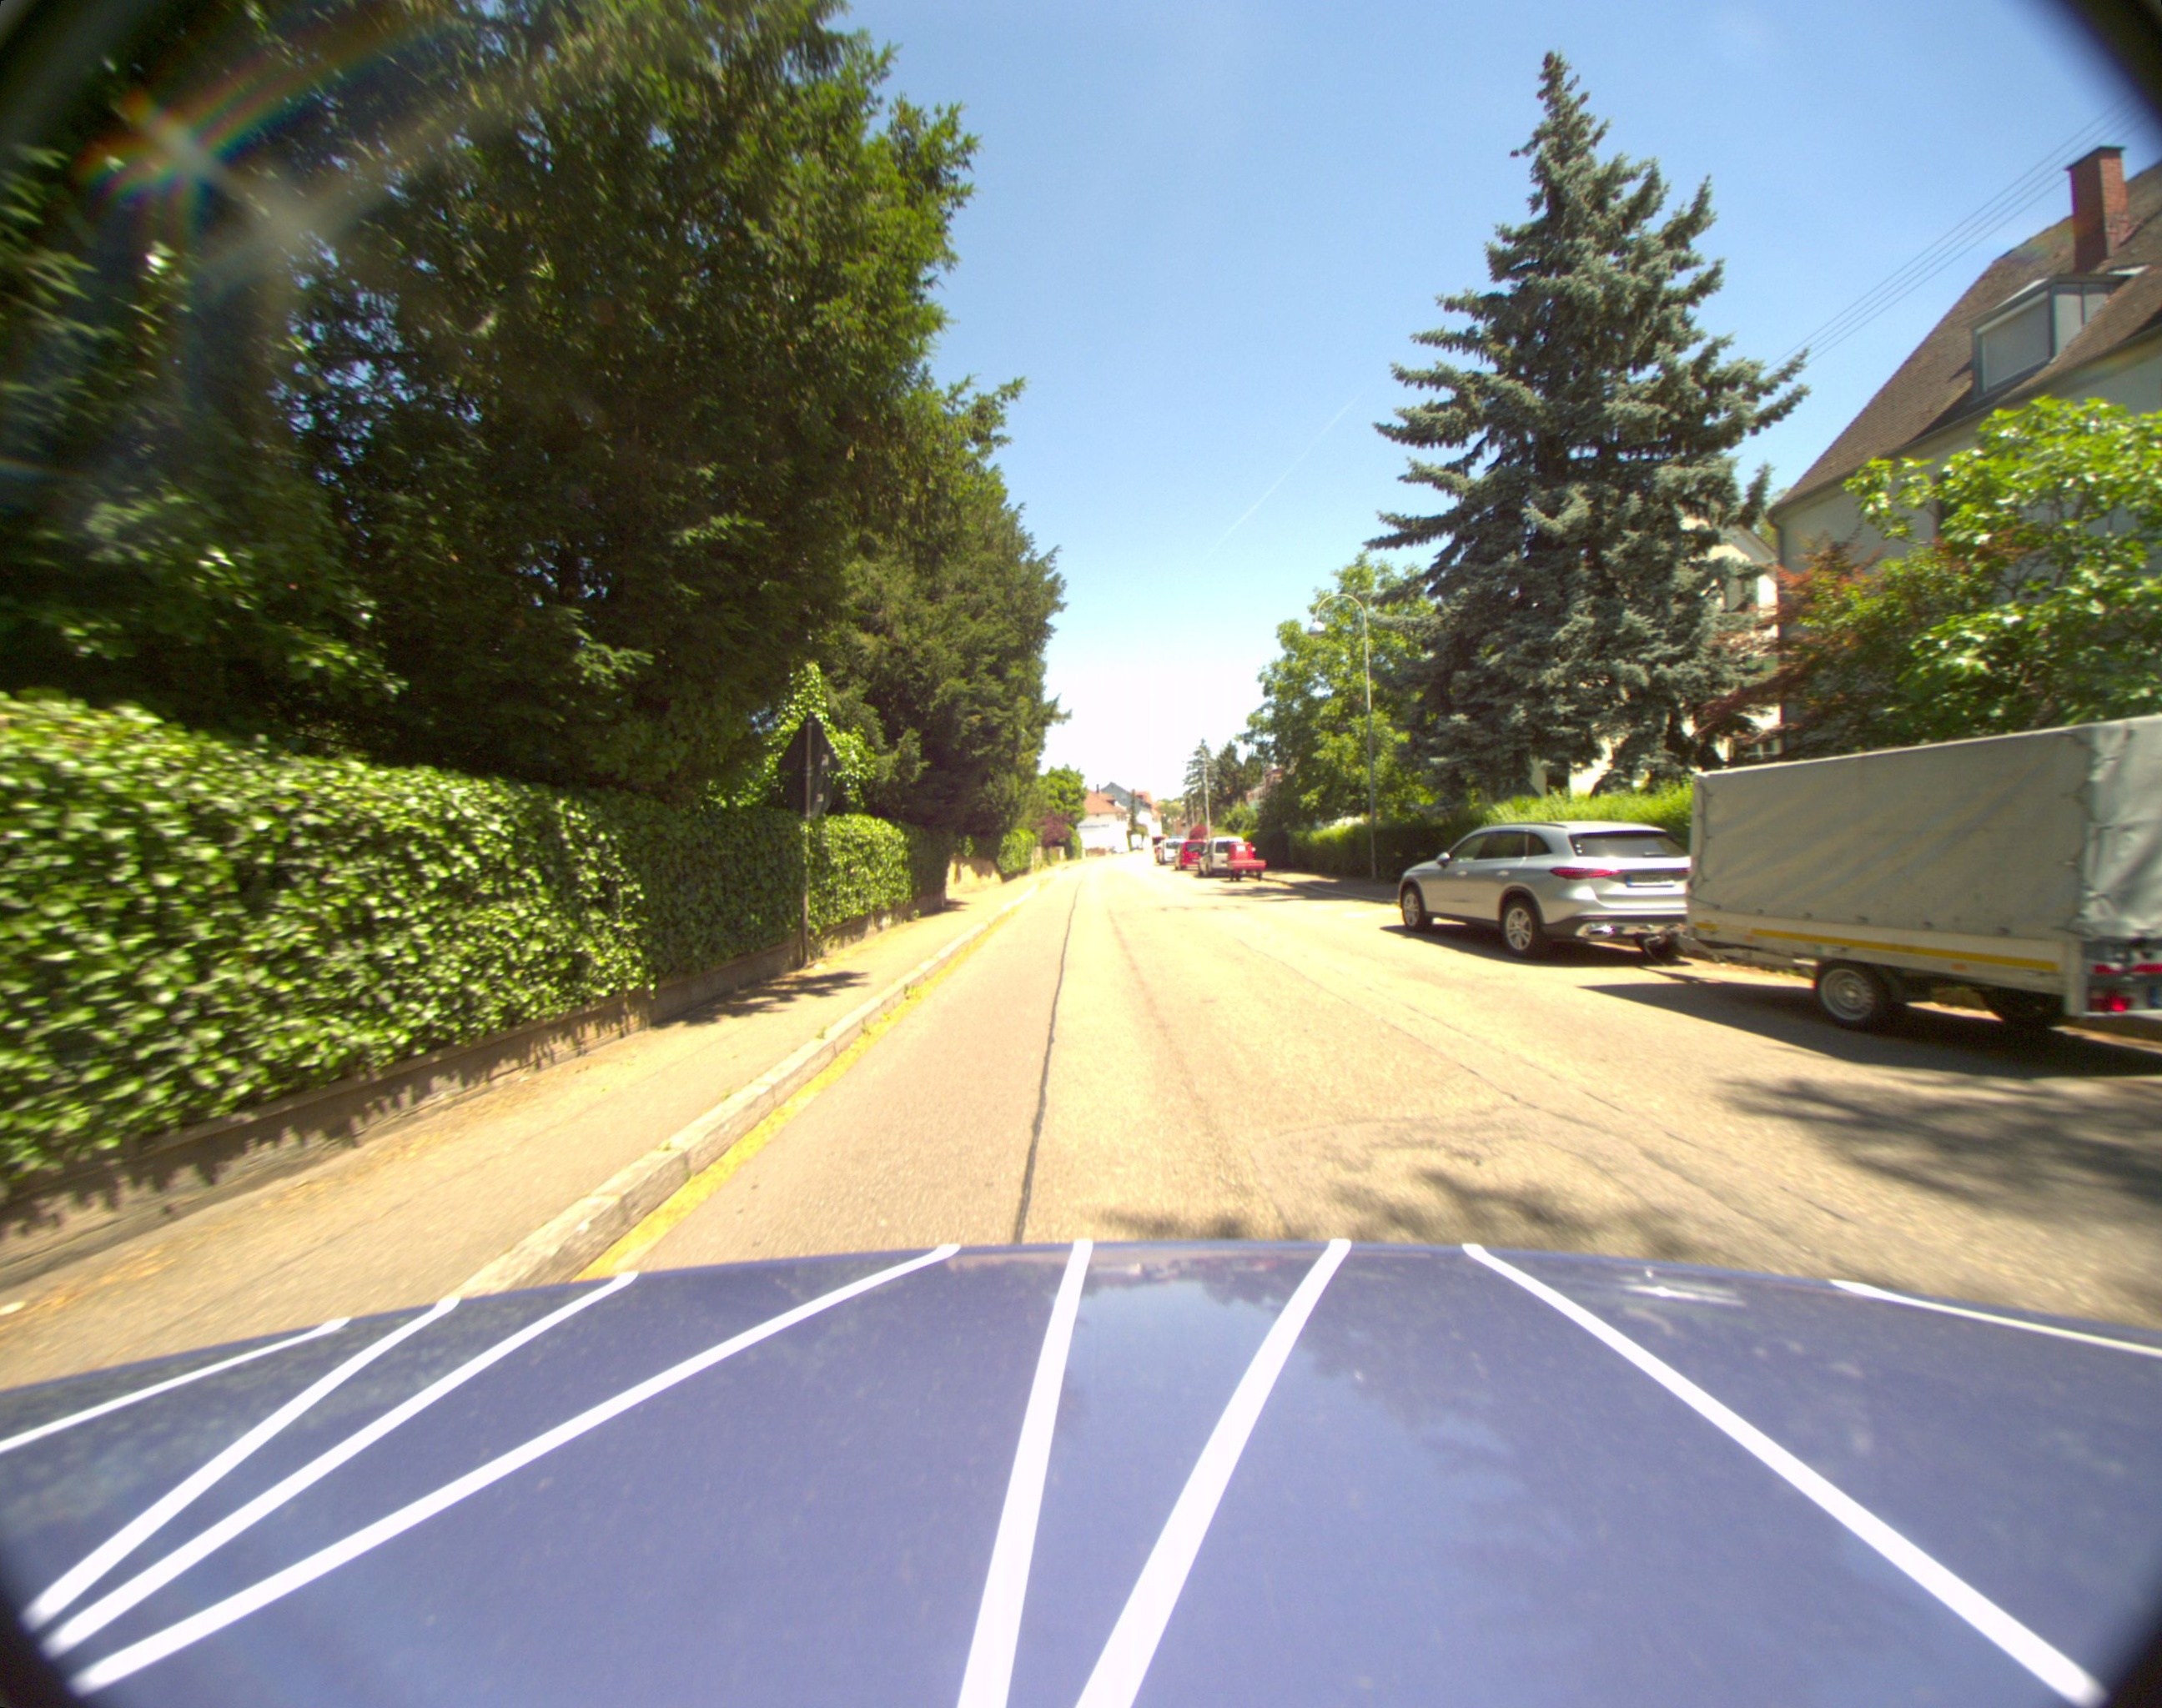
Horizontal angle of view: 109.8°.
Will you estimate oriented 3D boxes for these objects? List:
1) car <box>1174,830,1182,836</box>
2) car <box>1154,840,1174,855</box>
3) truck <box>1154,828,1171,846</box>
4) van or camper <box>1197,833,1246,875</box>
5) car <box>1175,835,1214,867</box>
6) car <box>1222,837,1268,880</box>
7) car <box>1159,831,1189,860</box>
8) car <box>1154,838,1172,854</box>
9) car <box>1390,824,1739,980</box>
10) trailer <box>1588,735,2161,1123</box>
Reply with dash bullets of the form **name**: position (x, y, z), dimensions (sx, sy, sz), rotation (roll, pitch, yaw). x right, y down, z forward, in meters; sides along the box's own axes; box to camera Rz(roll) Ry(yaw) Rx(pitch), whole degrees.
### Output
- **car**: position (27.152, -5.820, 212.730), dimensions (1.891, 1.726, 4.002), rotation (0, 1, 13)
- **car**: position (9.356, -0.767, 85.843), dimensions (1.893, 1.629, 3.999), rotation (0, 1, 2)
- **truck**: position (13.482, -2.820, 125.481), dimensions (2.225, 2.915, 6.727), rotation (0, 1, 10)
- **van or camper**: position (6.331, -0.037, 34.557), dimensions (1.583, 1.761, 3.888), rotation (-2, 1, 1)
- **car**: position (6.589, -0.200, 44.408), dimensions (1.893, 1.749, 3.612), rotation (0, 1, 2)
- **car**: position (6.391, 0.165, 29.716), dimensions (1.308, 1.568, 2.321), rotation (-2, 1, 1)
- **car**: position (7.055, -0.666, 57.763), dimensions (1.893, 2.103, 3.999), rotation (0, 1, 2)
- **car**: position (9.735, -1.001, 90.727), dimensions (1.893, 1.813, 3.999), rotation (0, 1, 3)
- **car**: position (6.005, 0.476, 10.249), dimensions (1.773, 1.610, 4.548), rotation (-1, 1, -1)
- **trailer**: position (6.246, 0.363, 5.965), dimensions (1.819, 2.021, 3.999), rotation (-1, 1, -1)
